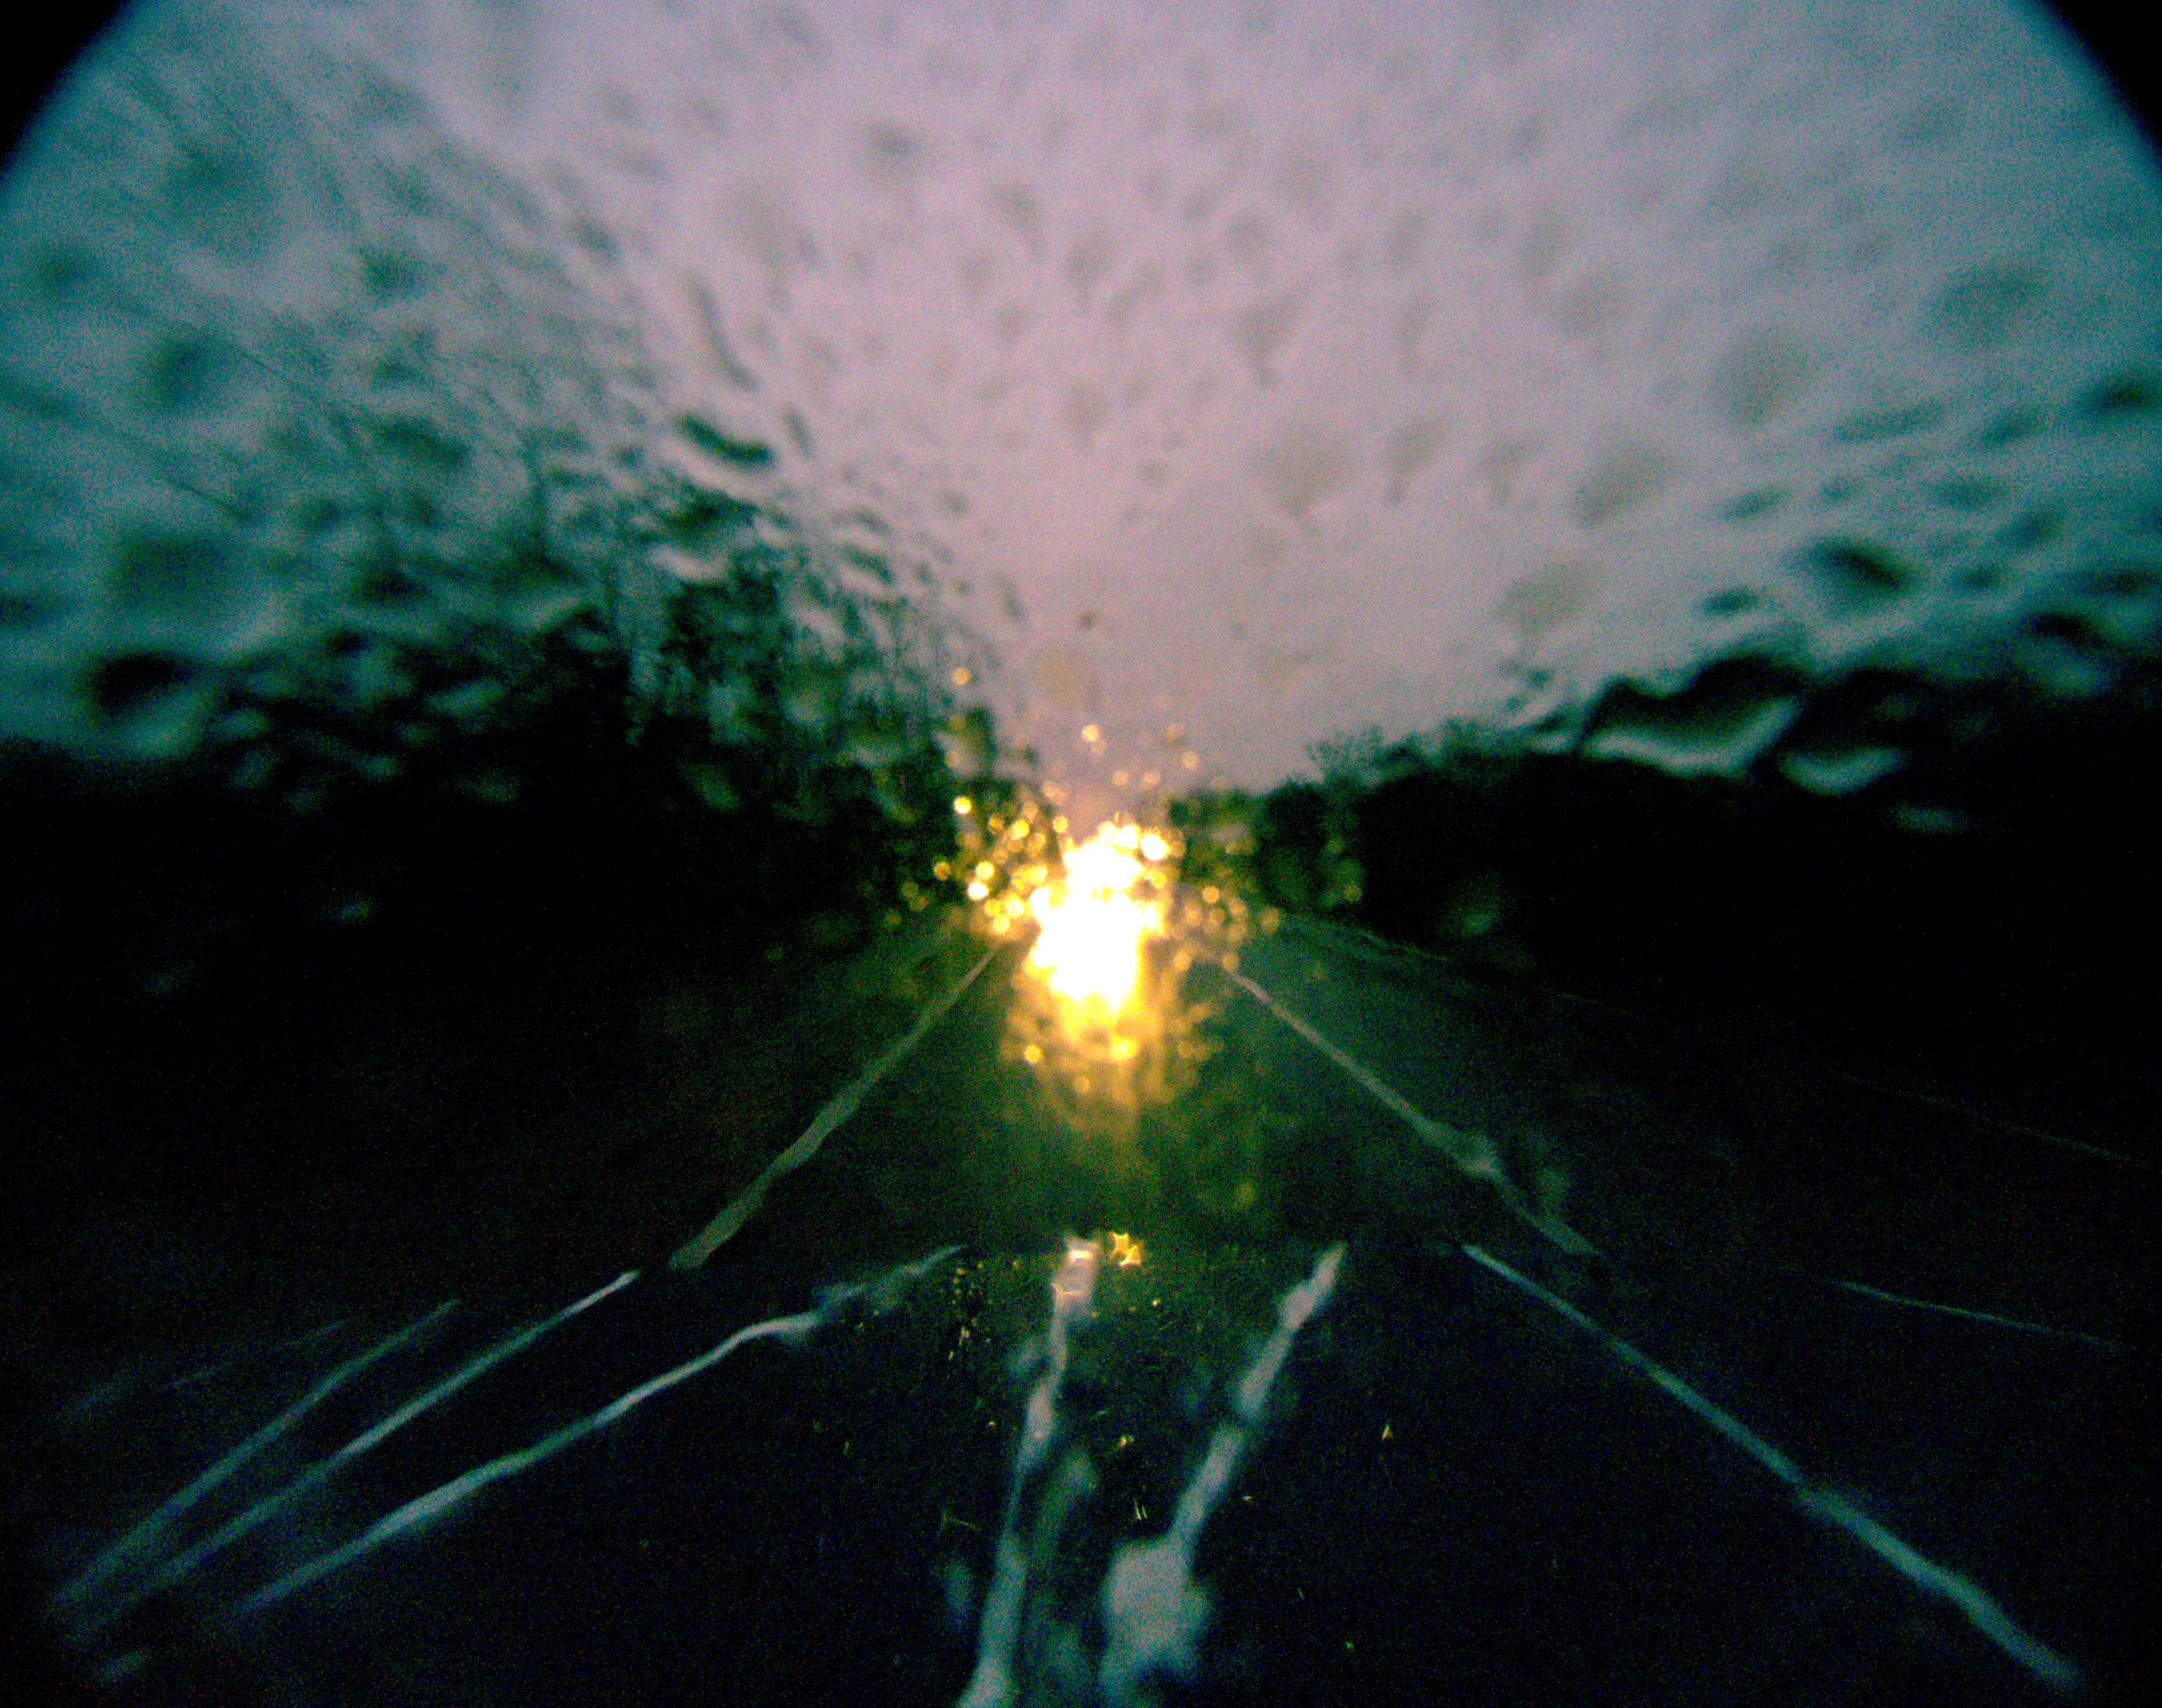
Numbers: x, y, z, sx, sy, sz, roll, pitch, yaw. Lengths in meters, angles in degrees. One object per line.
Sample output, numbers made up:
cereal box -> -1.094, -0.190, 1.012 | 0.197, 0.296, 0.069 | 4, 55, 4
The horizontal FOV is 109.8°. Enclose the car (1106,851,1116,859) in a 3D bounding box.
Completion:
car -> 6.152, 0.155, 155.328 | 1.771, 1.589, 4.000 | 1, 0, 0

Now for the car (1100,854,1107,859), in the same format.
car -> 6.412, 0.706, 217.670 | 1.809, 1.478, 4.000 | 1, 0, 0

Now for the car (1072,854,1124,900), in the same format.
car -> 0.646, 0.819, 29.418 | 1.860, 1.604, 4.000 | -1, 0, 1
